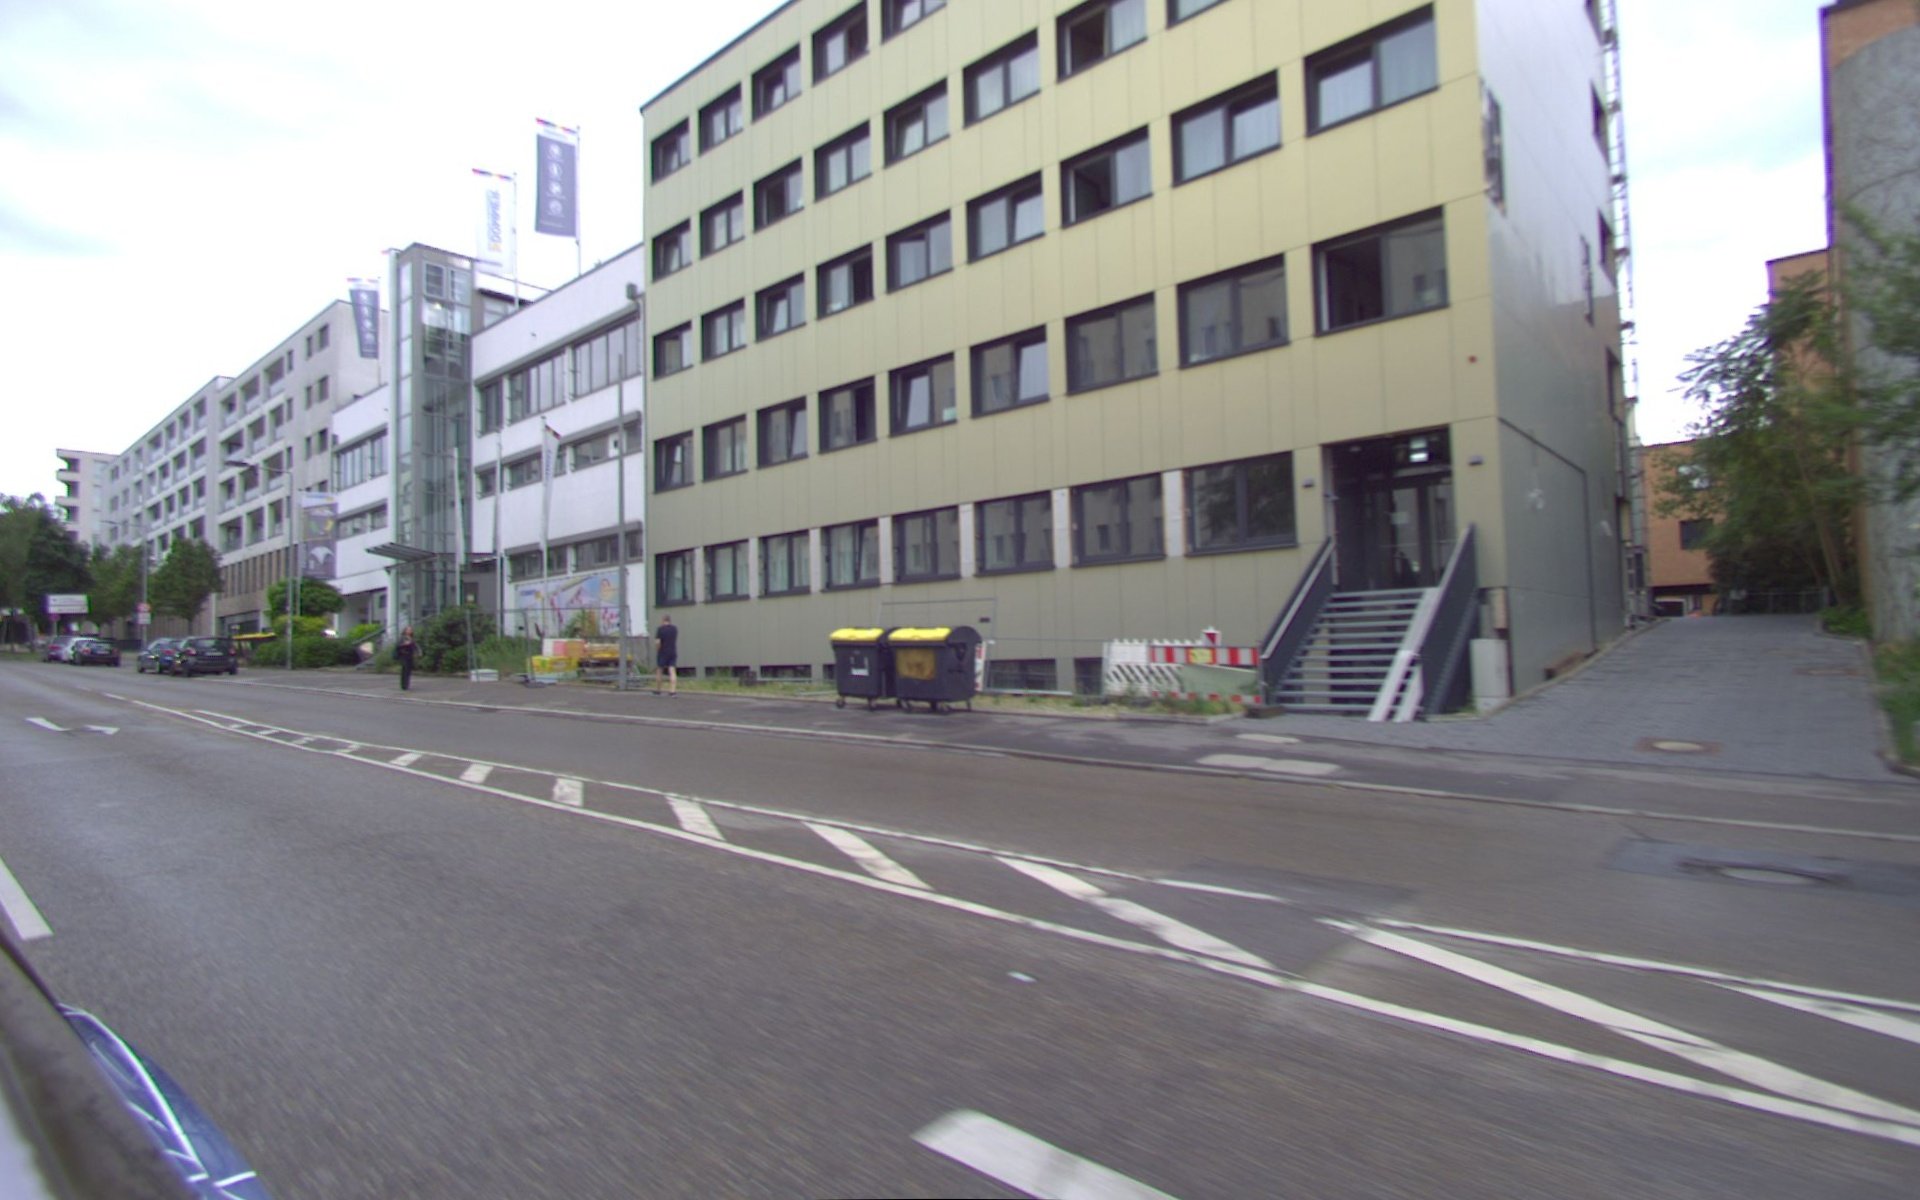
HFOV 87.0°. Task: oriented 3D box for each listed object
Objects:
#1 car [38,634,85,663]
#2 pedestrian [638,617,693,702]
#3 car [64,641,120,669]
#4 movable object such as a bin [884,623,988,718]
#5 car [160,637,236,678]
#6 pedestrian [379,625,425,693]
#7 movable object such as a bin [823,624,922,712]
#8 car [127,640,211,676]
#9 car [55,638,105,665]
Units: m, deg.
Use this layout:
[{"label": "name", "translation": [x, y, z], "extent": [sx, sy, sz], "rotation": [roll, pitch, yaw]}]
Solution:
[{"label": "car", "translation": [-54.279, 2.927, 61.137], "extent": [3.971, 1.630, 1.609], "rotation": [-2, -6, 42]}, {"label": "pedestrian", "translation": [-6.304, 1.243, 21.627], "extent": [0.746, 1.745, 0.942], "rotation": [-1, -1, -45]}, {"label": "car", "translation": [-46.944, 2.975, 54.717], "extent": [3.737, 1.402, 1.641], "rotation": [-2, -4, 40]}, {"label": "movable object such as a bin", "translation": [-0.402, 1.141, 16.884], "extent": [1.358, 1.456, 1.042], "rotation": [-2, 0, 44]}, {"label": "car", "translation": [-29.367, 2.206, 38.988], "extent": [2.977, 1.521, 1.500], "rotation": [-2, -5, 37]}, {"label": "pedestrian", "translation": [-14.500, 1.510, 26.304], "extent": [0.969, 1.689, 0.758], "rotation": [-2, -1, 43]}, {"label": "movable object such as a bin", "translation": [-1.558, 1.173, 17.956], "extent": [1.431, 1.456, 1.042], "rotation": [-2, 0, 44]}, {"label": "car", "translation": [-32.491, 2.359, 41.552], "extent": [4.263, 1.414, 1.640], "rotation": [-2, -4, 37]}, {"label": "car", "translation": [-50.327, 2.937, 57.872], "extent": [3.420, 1.479, 1.576], "rotation": [-2, -6, 41]}]
